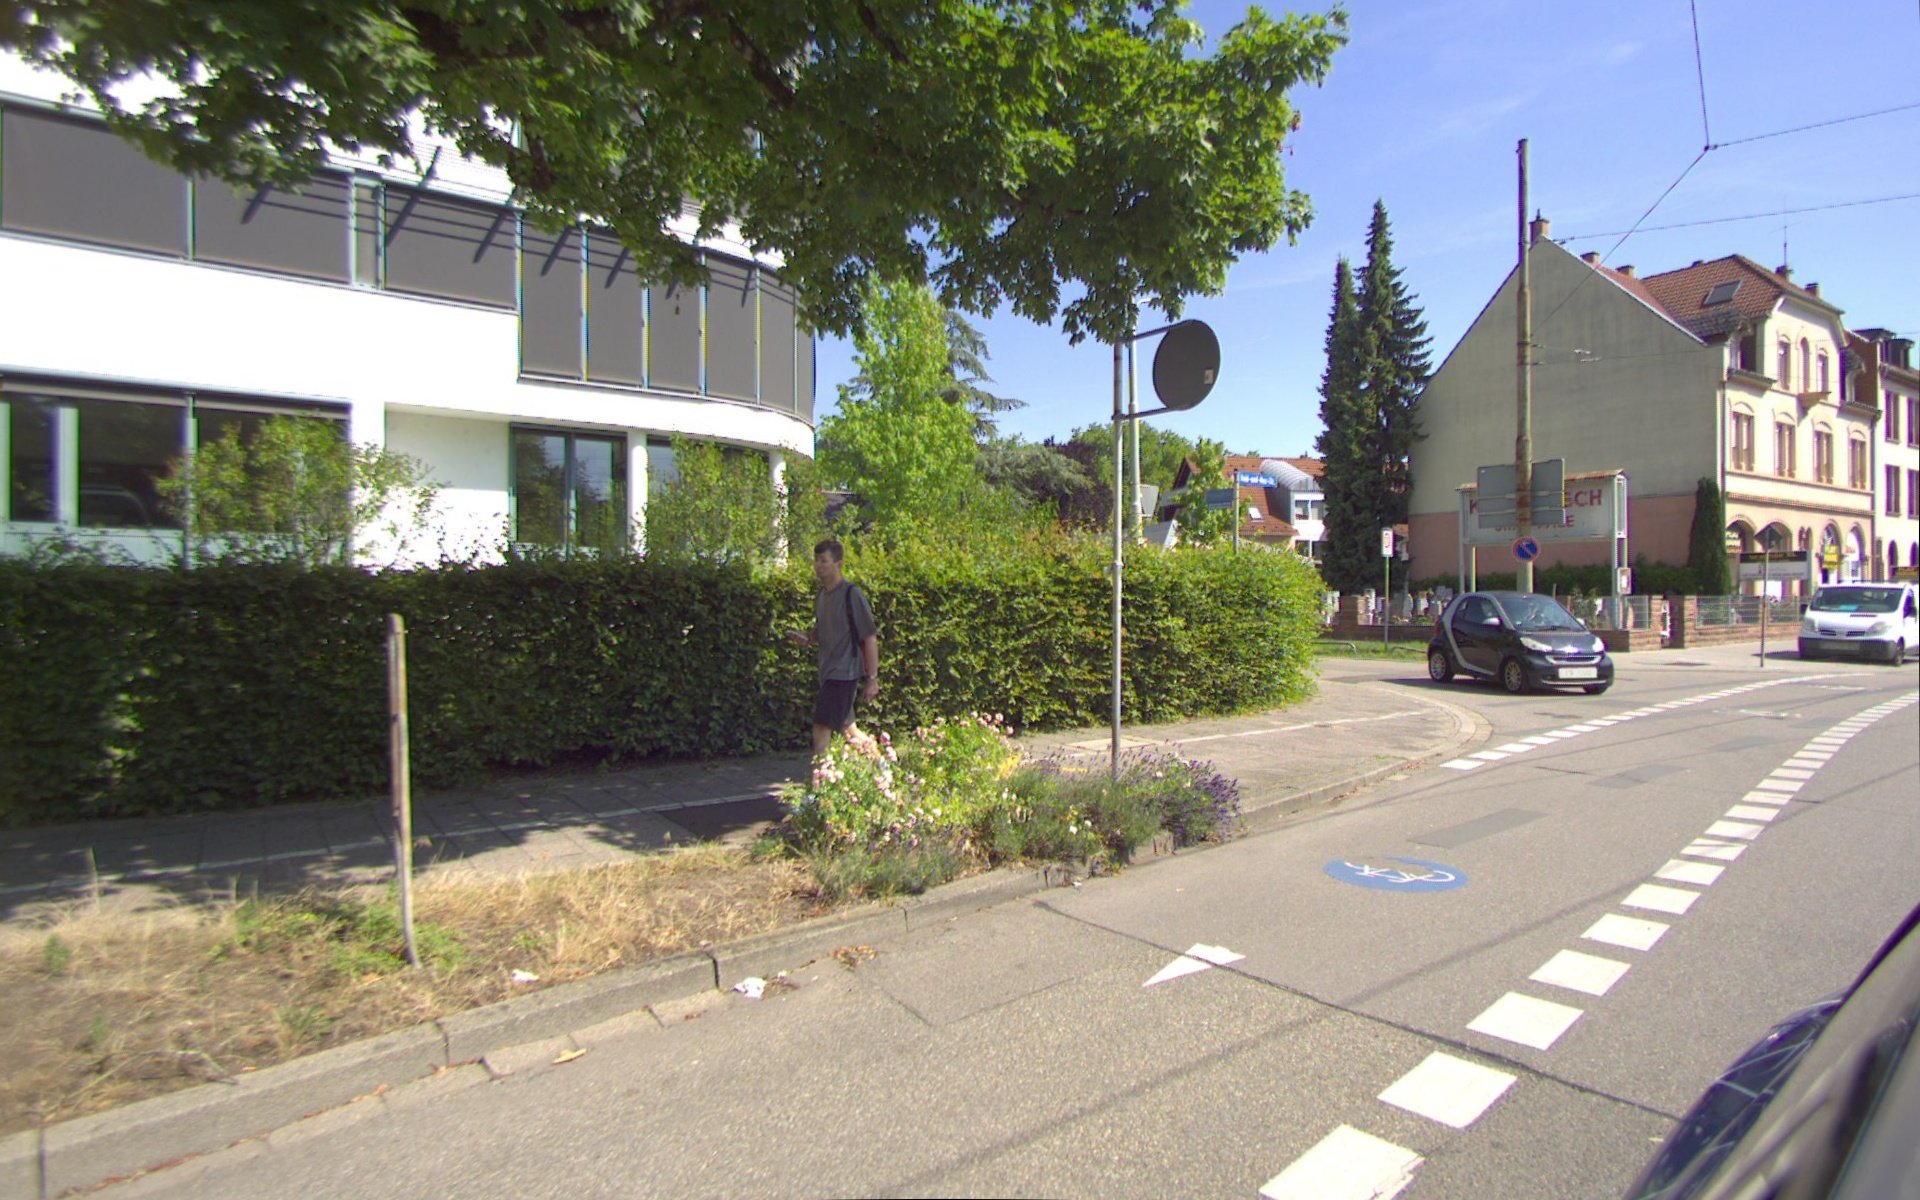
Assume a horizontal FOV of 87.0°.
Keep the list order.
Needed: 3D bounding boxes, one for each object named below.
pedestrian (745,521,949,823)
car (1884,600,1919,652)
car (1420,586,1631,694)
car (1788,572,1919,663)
[{"bbox_3d":[-0.767,0.440,6.879,1.055,1.841,0.890,0,-1,-43],"label":"pedestrian"},{"bbox_3d":[27.654,0.699,28.406,3.925,1.424,1.725,0,0,-35],"label":"car"},{"bbox_3d":[8.912,0.561,16.204,1.449,1.558,2.980,0,0,-7],"label":"car"},{"bbox_3d":[22.656,0.368,25.026,4.814,2.039,2.091,0,1,-35],"label":"car"}]
